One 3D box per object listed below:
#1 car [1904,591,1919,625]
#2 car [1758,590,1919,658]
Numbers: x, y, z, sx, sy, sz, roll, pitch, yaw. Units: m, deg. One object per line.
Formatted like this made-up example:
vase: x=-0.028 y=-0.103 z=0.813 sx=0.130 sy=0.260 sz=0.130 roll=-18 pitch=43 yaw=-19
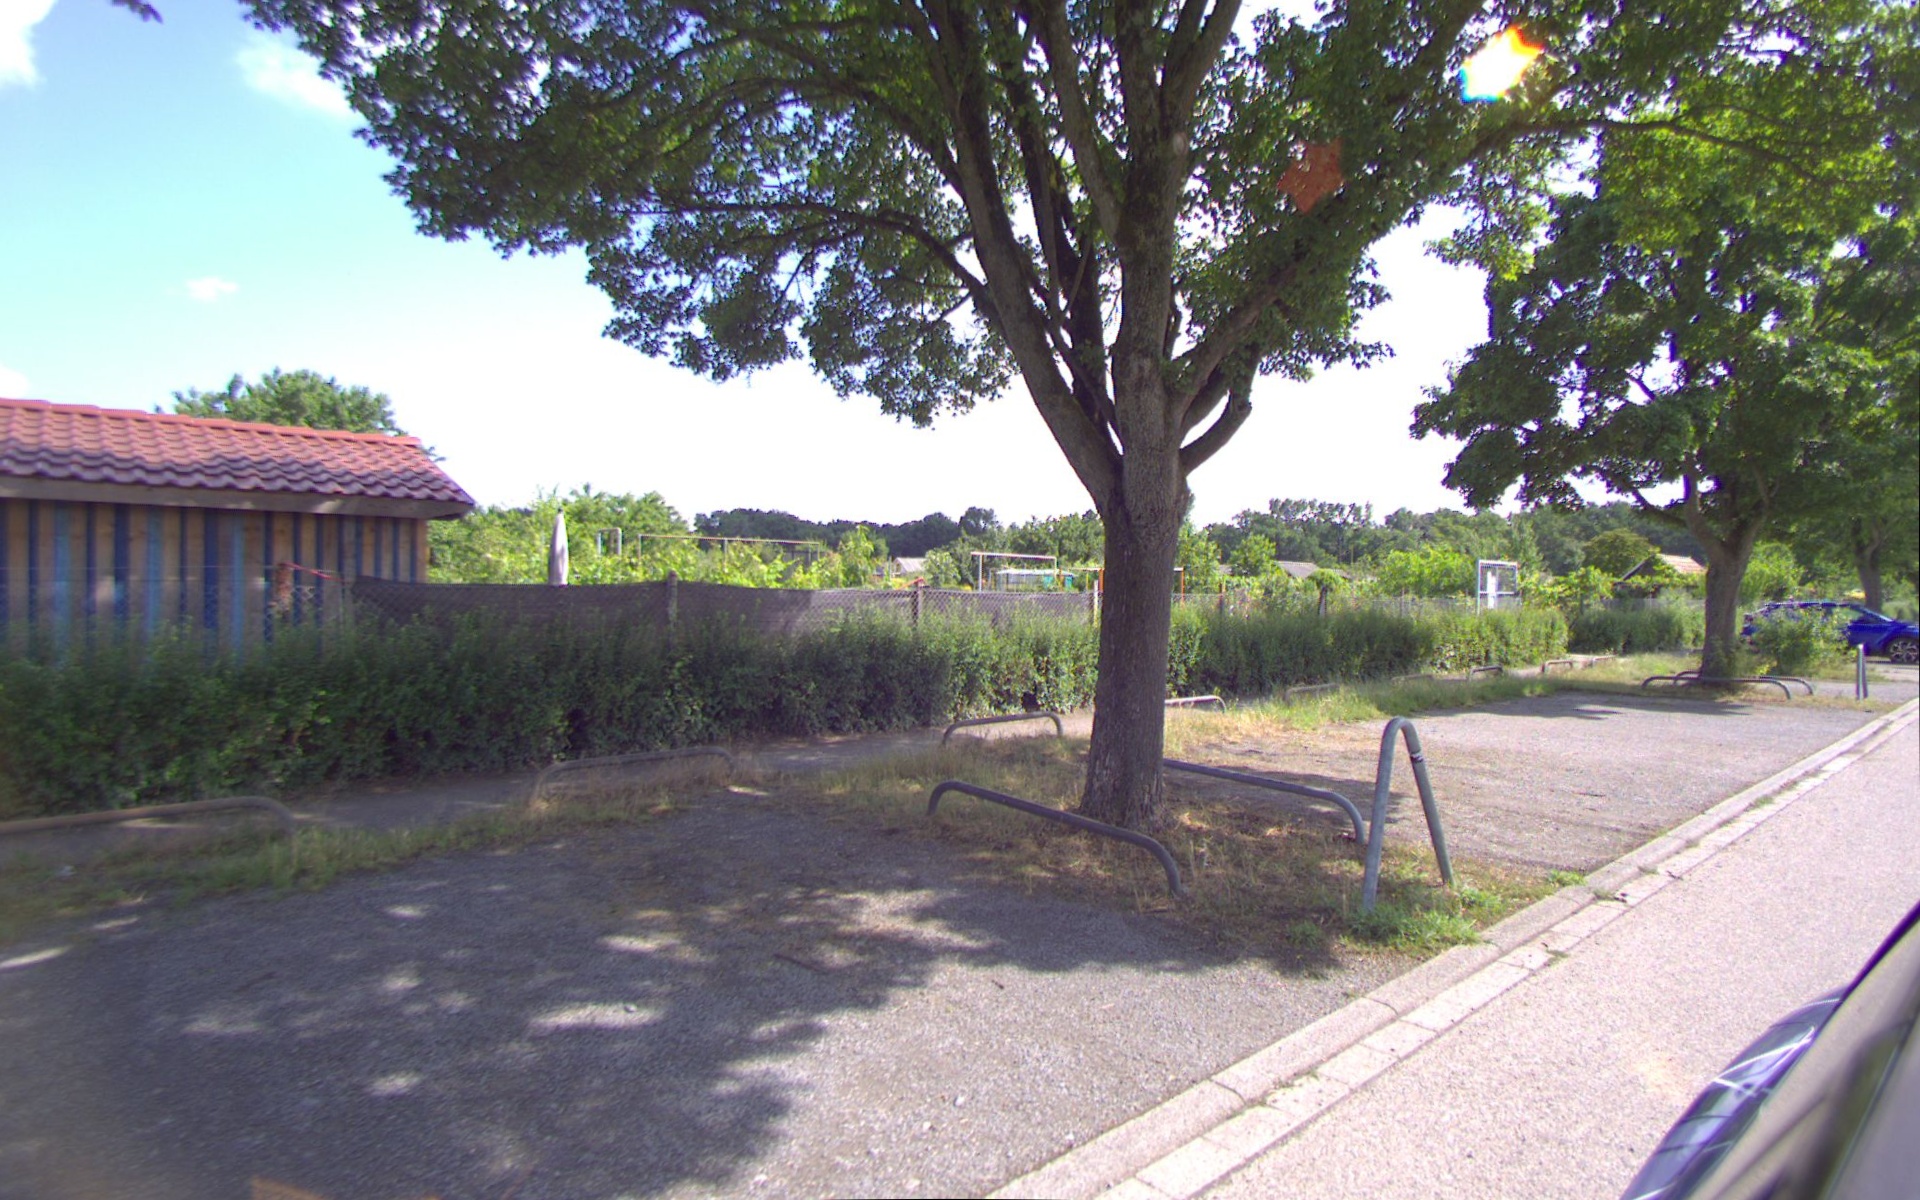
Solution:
car: x=52.239 y=0.415 z=53.005 sx=1.965 sy=1.772 sz=3.925 roll=-1 pitch=0 yaw=-41
car: x=23.442 y=0.583 z=26.229 sx=1.750 sy=1.602 sz=4.111 roll=0 pitch=1 yaw=-42
